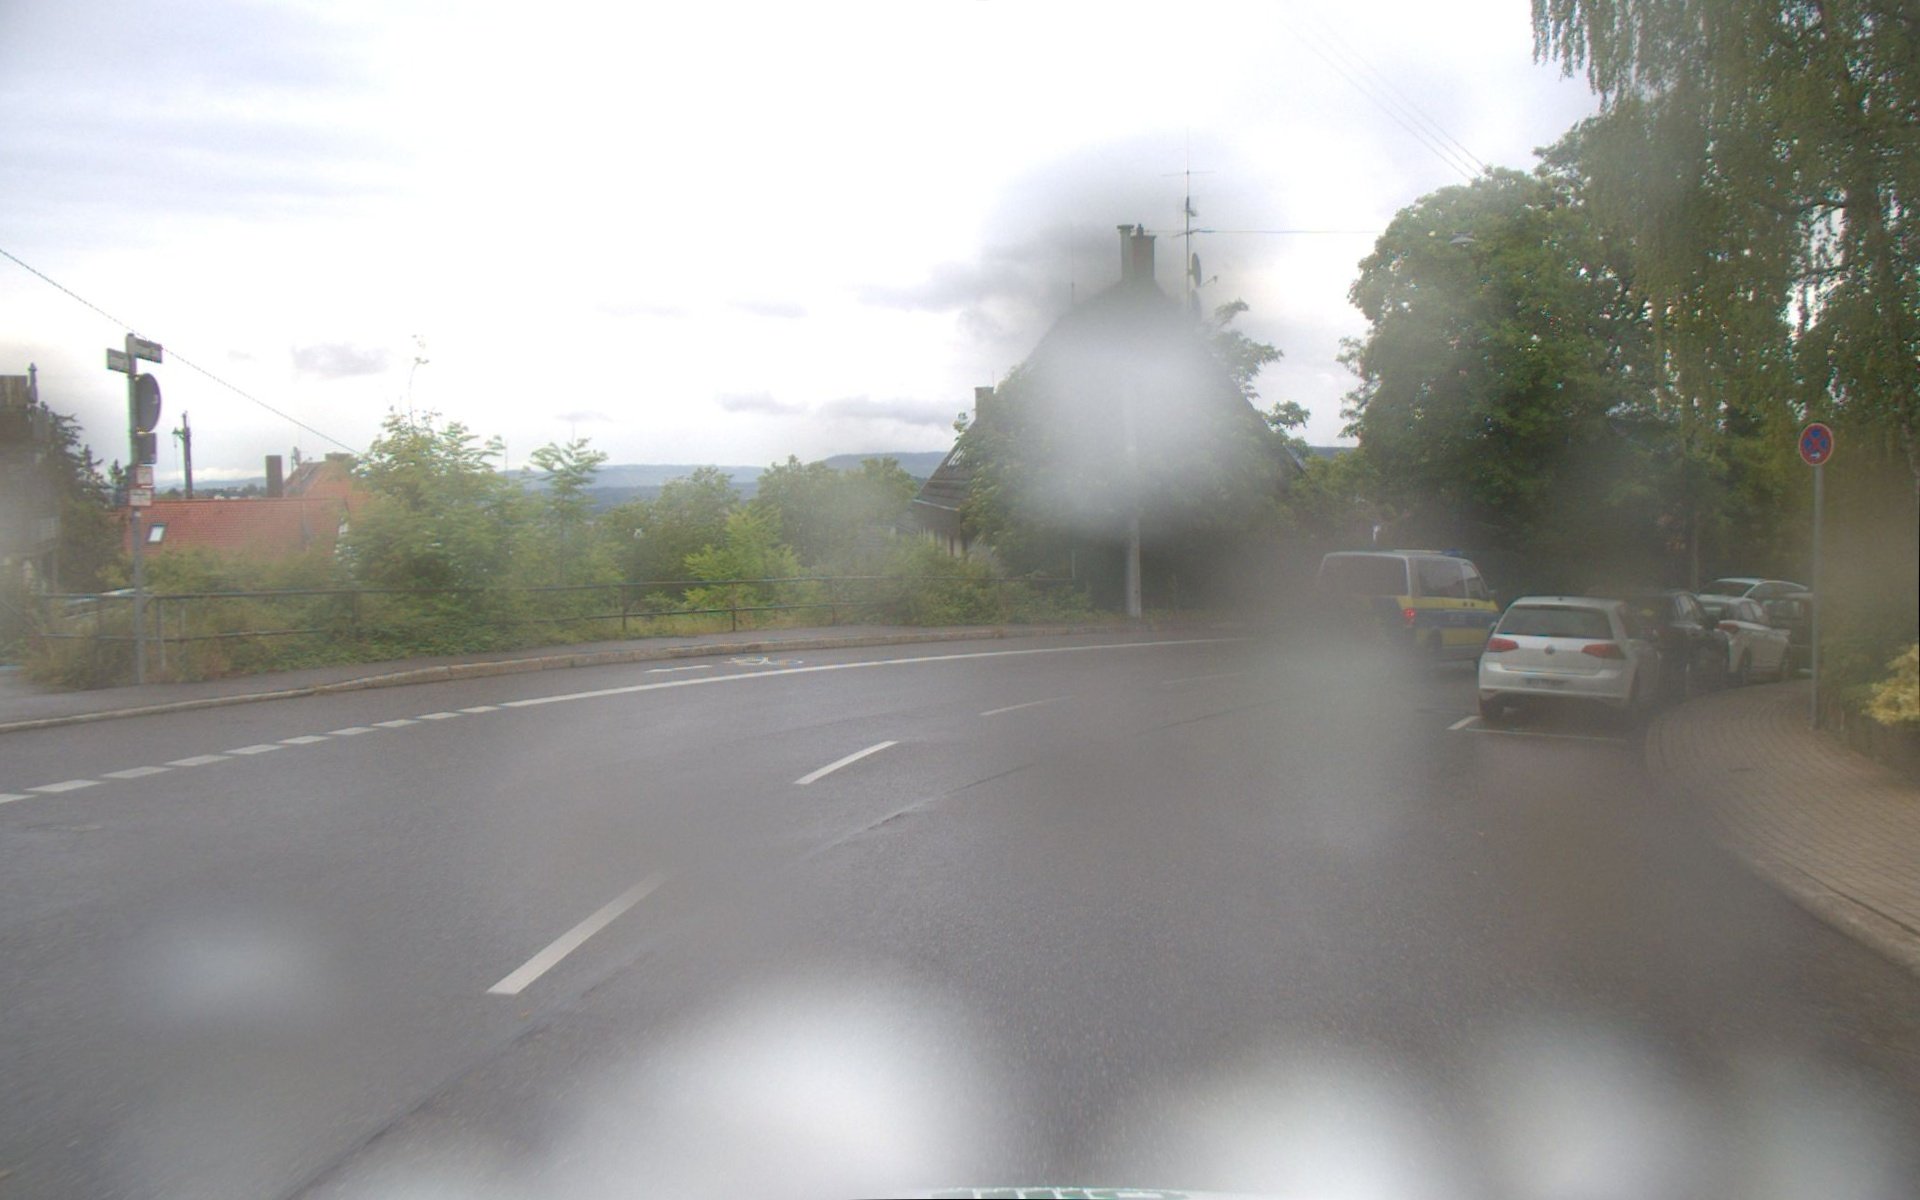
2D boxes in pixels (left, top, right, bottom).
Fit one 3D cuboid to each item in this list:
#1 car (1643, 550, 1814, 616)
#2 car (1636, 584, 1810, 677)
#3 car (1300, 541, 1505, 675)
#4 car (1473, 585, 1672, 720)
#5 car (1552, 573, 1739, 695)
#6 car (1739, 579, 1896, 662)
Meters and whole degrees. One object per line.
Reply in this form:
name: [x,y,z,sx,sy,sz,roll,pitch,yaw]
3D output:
car: [20.225,-0.465,43.513,4.219,1.635,1.817,-2,1,-26]
car: [13.228,0.477,28.569,1.700,1.490,4.008,0,1,41]
car: [7.427,0.095,27.454,1.958,1.926,4.558,4,3,32]
car: [7.590,0.551,20.277,1.756,1.471,4.100,0,1,28]
car: [10.060,0.419,24.096,1.597,1.545,4.311,0,2,36]
car: [16.711,0.363,32.182,3.574,1.531,1.600,0,1,-42]
